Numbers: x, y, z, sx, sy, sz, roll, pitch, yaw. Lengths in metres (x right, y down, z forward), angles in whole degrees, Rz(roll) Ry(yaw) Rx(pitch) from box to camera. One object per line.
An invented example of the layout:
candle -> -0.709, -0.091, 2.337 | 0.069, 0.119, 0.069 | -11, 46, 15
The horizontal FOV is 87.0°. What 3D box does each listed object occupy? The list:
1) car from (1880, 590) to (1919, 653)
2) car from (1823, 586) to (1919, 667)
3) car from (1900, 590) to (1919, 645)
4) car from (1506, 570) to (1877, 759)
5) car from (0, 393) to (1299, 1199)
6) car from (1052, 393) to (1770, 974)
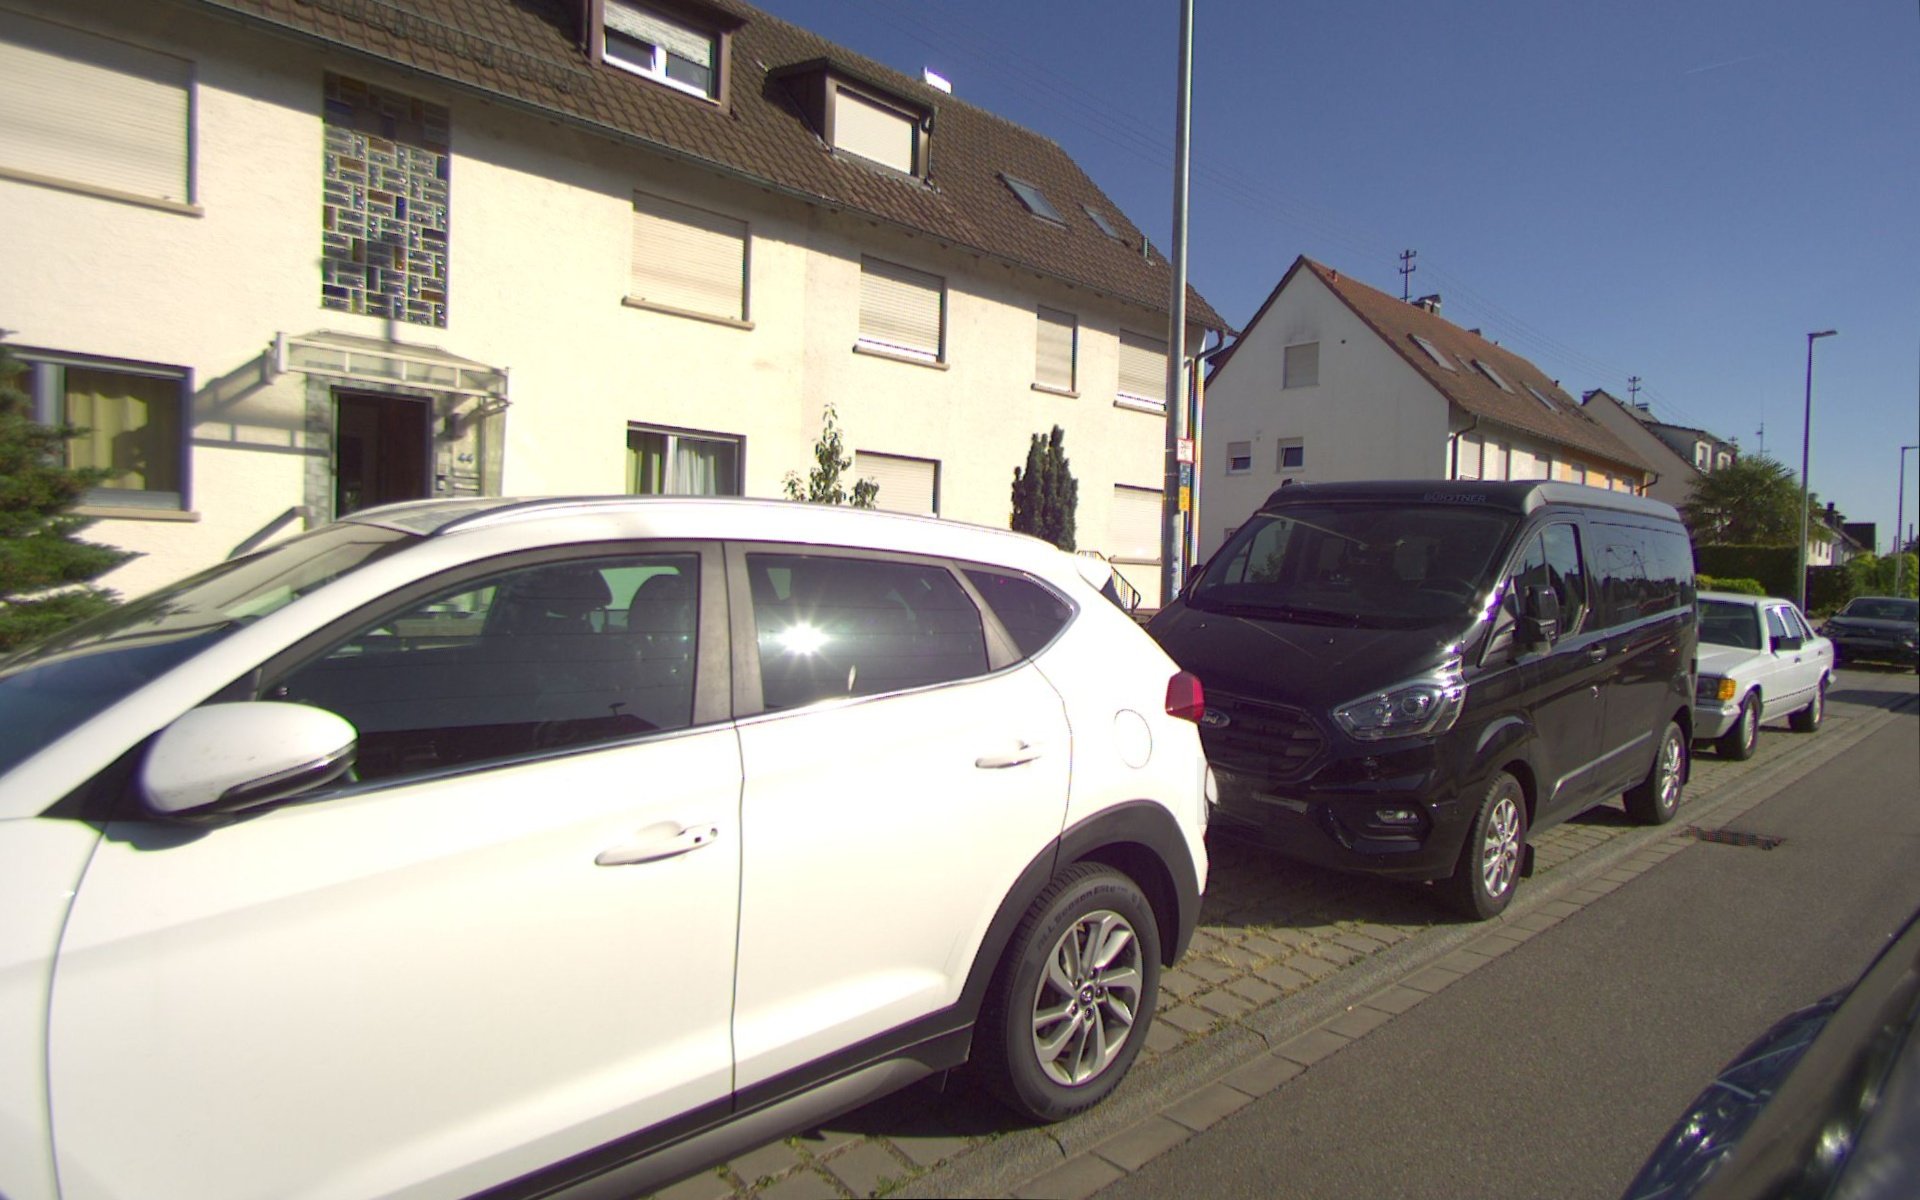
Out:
car -> 24.462, 0.576, 25.258 | 4.617, 1.465, 1.751 | 1, 2, -42
car -> 20.160, 0.521, 21.685 | 4.644, 1.517, 1.781 | 0, 2, -41
car -> 29.879, 0.538, 30.479 | 4.842, 1.578, 1.809 | 0, 3, -42
car -> 7.997, 0.518, 10.800 | 5.513, 1.461, 1.857 | 0, 4, -40
car -> -1.082, 0.519, 2.555 | 4.243, 1.665, 1.729 | 0, 3, -41
car -> 3.118, 0.252, 6.242 | 5.243, 2.170, 1.964 | 0, 3, -41
